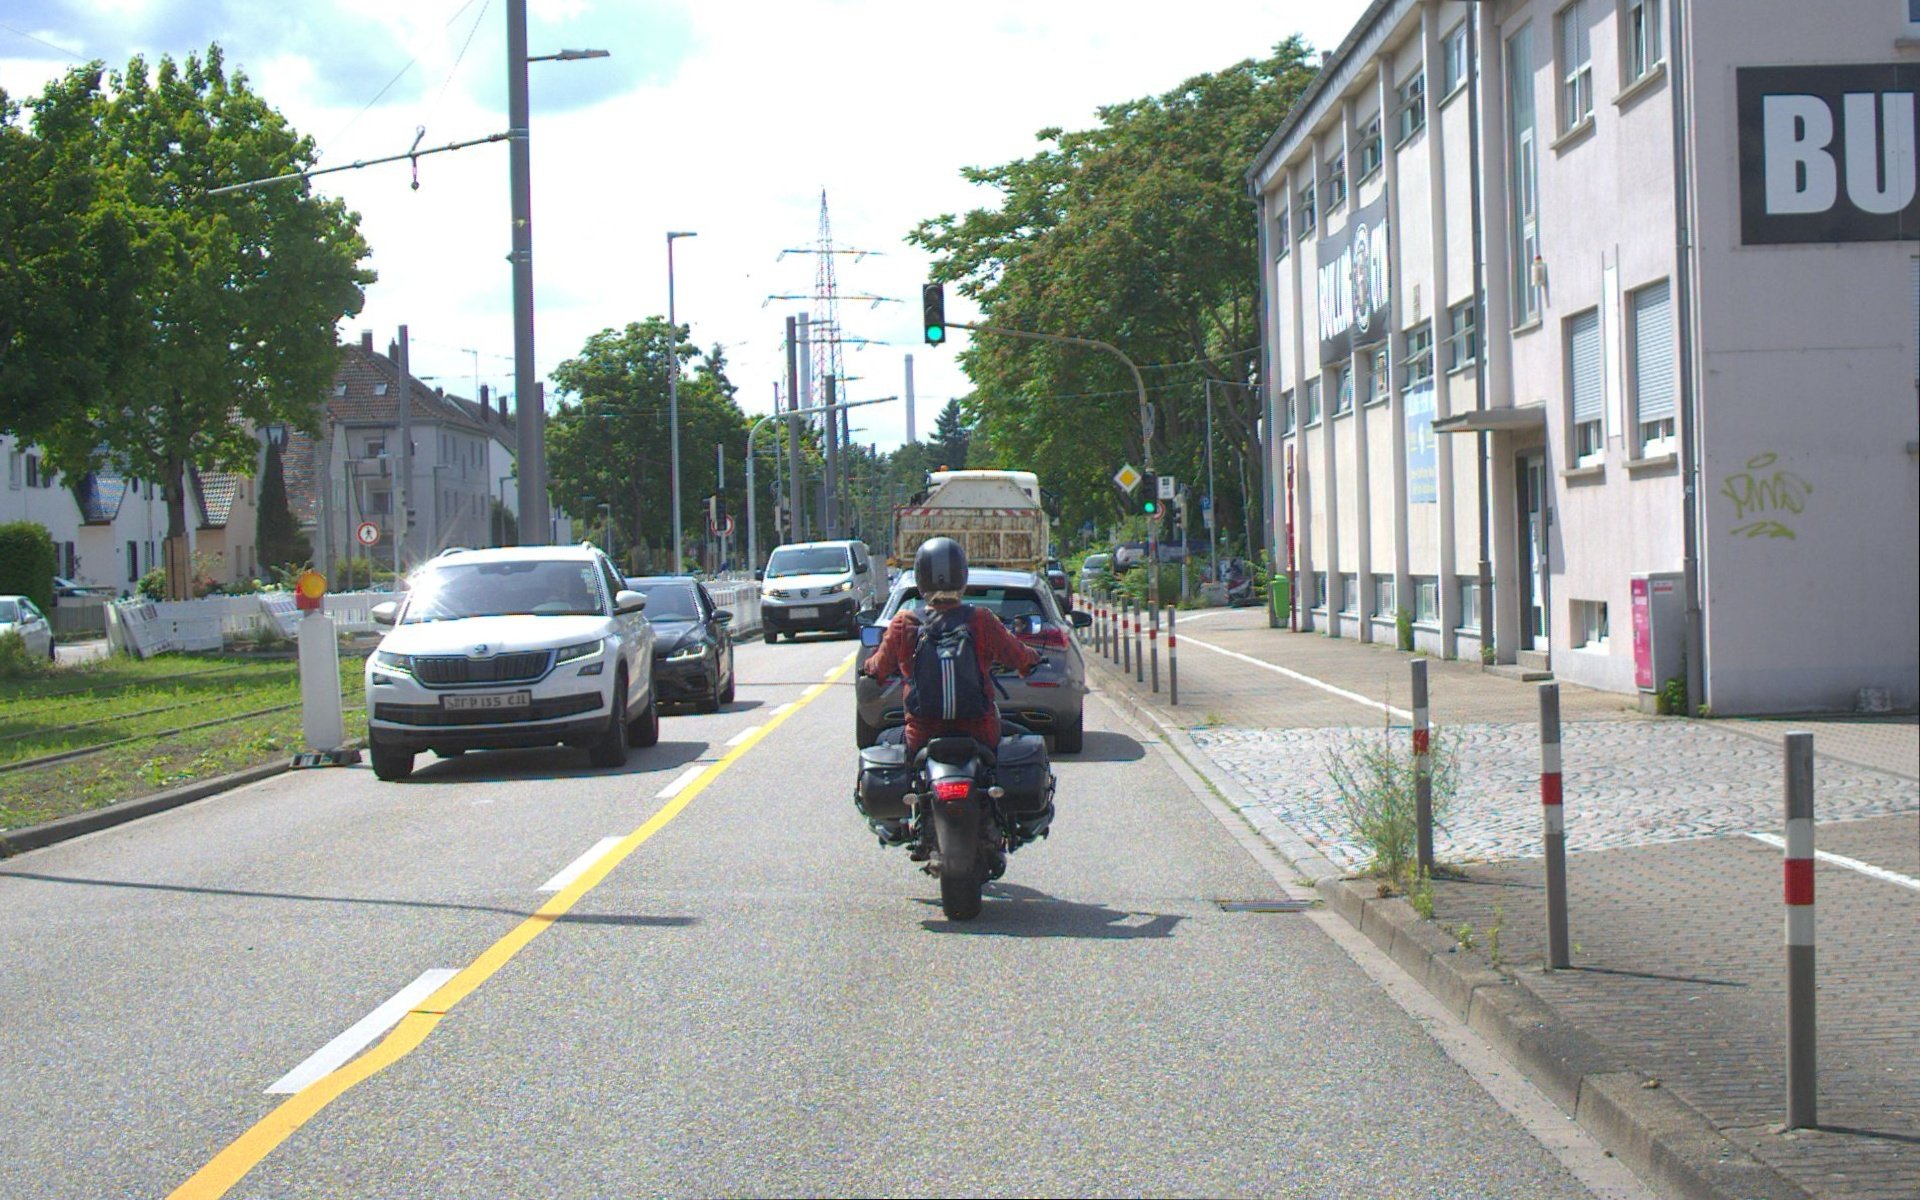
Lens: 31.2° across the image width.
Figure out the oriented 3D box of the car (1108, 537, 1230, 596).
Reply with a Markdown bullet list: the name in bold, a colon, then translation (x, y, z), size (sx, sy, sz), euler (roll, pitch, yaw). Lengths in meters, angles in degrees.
- **car**: translation (6.956, -1.104, 114.288), size (3.989, 1.919, 1.802), euler (0, 0, -44)

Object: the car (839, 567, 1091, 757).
- **car**: translation (-0.030, 0.452, 27.949), size (1.731, 1.399, 4.087), euler (1, 1, -4)

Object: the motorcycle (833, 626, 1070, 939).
- **motorcycle**: translation (-0.024, 0.746, 15.096), size (0.942, 1.196, 2.472), euler (1, 1, 0)

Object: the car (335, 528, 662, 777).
- **car**: translation (-3.402, 0.360, 26.117), size (1.824, 1.660, 4.462), euler (-2, 0, 0)

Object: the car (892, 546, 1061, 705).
- **car**: translation (0.260, 0.259, 42.128), size (1.901, 1.706, 4.719), euler (-1, 2, 2)

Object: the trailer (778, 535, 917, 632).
- **trailer**: translation (-2.319, -0.354, 72.296), size (2.063, 1.829, 5.484), euler (-3, 0, 6)

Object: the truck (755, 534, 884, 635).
- **truck**: translation (-2.731, -0.344, 67.931), size (1.820, 1.903, 5.115), euler (1, 1, 6)

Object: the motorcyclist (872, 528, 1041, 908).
- **motorcyclist**: translation (-0.012, 0.497, 14.861), size (0.698, 1.599, 0.692), euler (1, 0, 0)

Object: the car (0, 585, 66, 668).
- **car**: translation (-16.943, 0.476, 60.566), size (1.540, 1.372, 4.253), euler (-4, 1, -5)

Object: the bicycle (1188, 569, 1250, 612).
- **bicycle**: translation (7.165, -0.267, 95.082), size (1.708, 1.168, 0.438), euler (1, 0, 6)

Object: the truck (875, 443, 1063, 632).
- **truck**: translation (0.262, -1.061, 61.949), size (2.968, 3.162, 7.763), euler (1, 0, 3)

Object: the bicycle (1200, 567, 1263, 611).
- **bicycle**: translation (7.436, -0.297, 94.065), size (1.708, 1.168, 0.438), euler (1, 0, 6)

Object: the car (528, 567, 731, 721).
- **car**: translation (-3.444, 0.433, 36.366), size (1.692, 1.408, 3.859), euler (-5, 0, 0)
